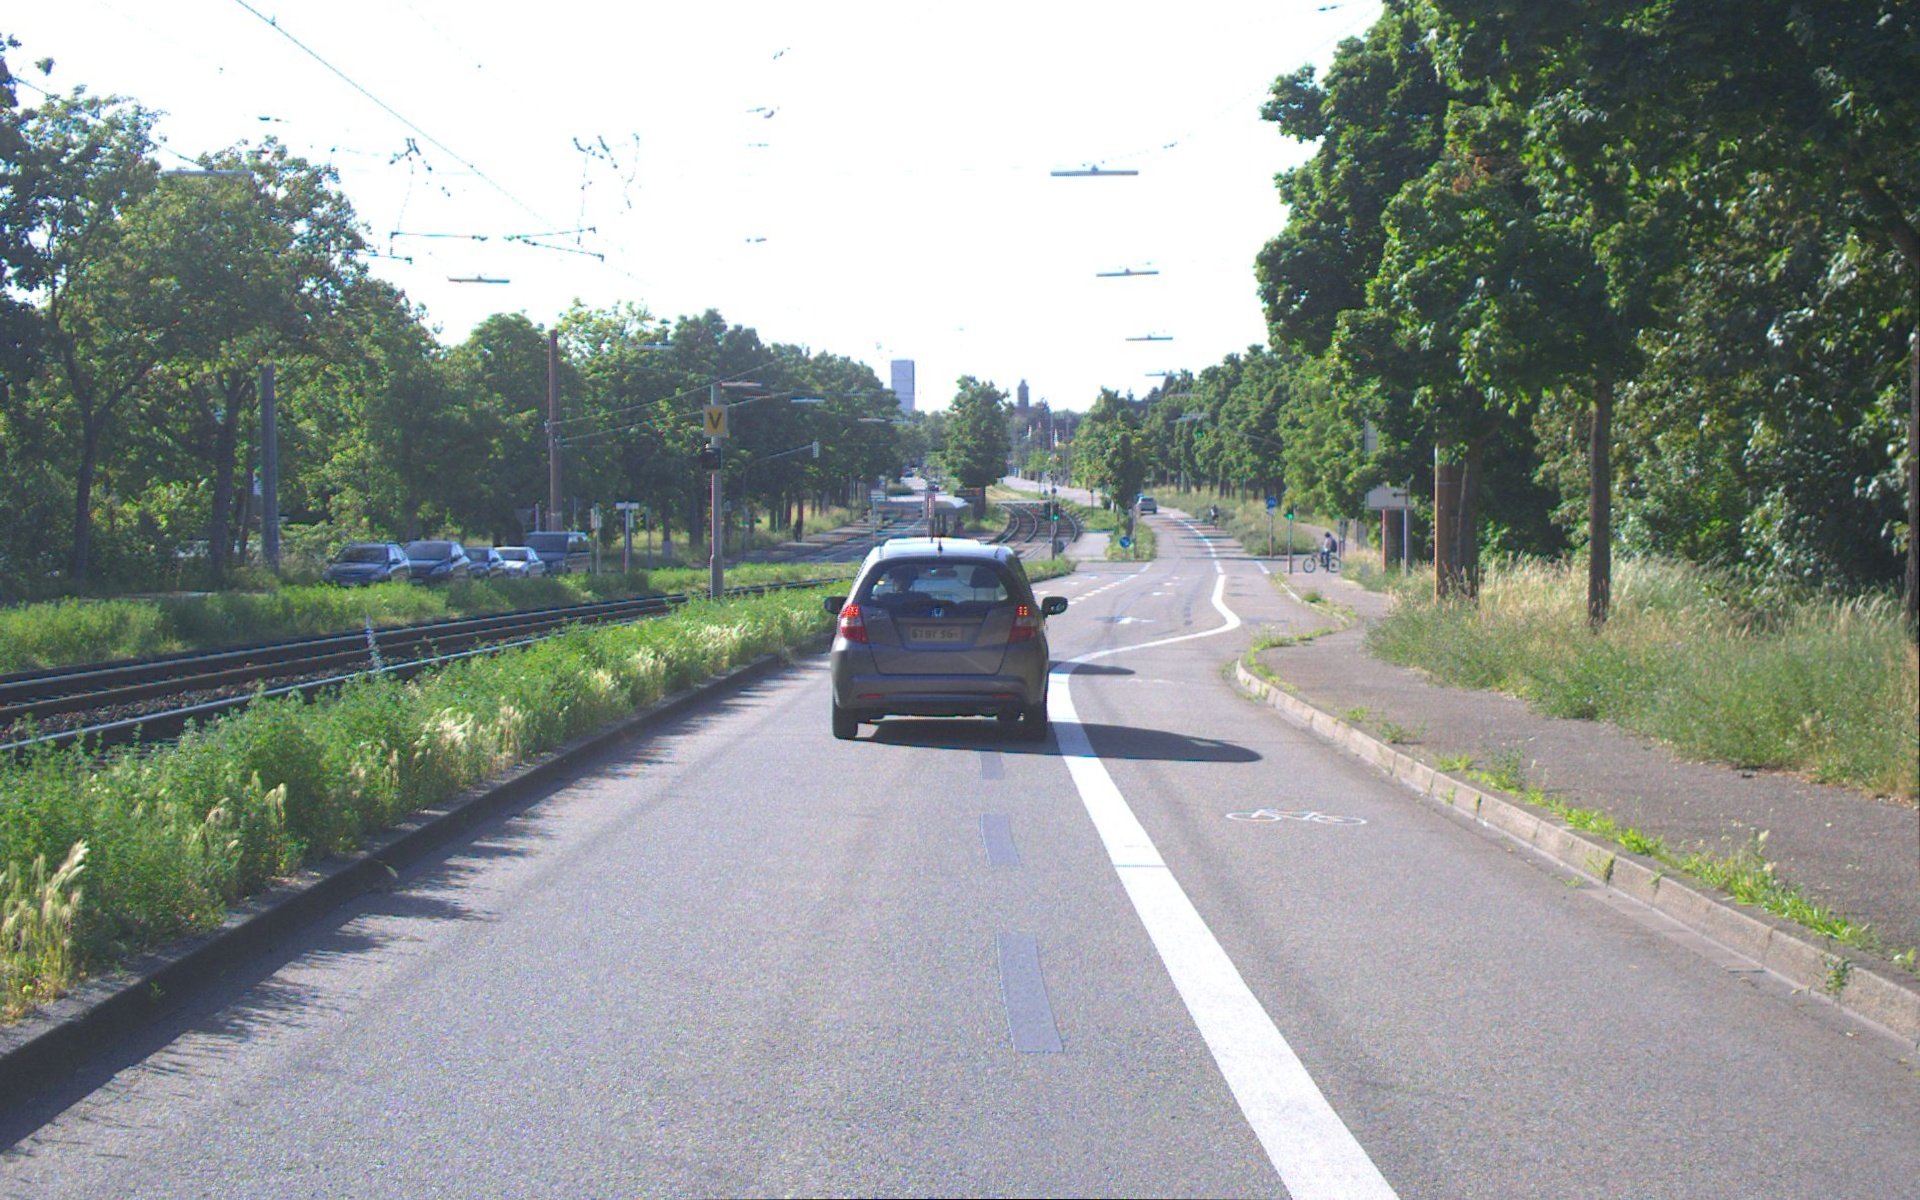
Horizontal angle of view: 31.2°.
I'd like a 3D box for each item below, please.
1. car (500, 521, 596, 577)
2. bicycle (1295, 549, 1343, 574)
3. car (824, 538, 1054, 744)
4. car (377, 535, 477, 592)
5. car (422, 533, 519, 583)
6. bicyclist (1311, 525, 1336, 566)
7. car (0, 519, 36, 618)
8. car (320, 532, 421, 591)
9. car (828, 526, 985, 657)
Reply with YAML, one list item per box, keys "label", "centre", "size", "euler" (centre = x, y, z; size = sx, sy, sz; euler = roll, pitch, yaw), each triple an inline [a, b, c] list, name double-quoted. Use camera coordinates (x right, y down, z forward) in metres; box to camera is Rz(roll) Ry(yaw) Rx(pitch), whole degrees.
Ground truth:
- label: "car"
  centre: [-14.033, -1.762, 117.372]
  size: [2.197, 1.885, 4.790]
  euler: [0, 1, 7]
- label: "bicycle"
  centre: [15.595, -1.677, 149.255]
  size: [1.921, 0.994, 0.764]
  euler: [-2, 0, 16]
- label: "car"
  centre: [-0.142, 0.271, 27.831]
  size: [1.707, 1.503, 4.000]
  euler: [1, 1, 1]
- label: "car"
  centre: [-15.335, -1.082, 99.107]
  size: [1.994, 1.569, 4.435]
  euler: [0, 1, 3]
- label: "car"
  centre: [-14.932, -1.302, 105.136]
  size: [1.994, 1.432, 4.414]
  euler: [0, 1, 5]
- label: "bicyclist"
  centre: [15.780, -2.368, 149.190]
  size: [0.911, 1.739, 0.764]
  euler: [-1, 1, 16]
- label: "car"
  centre: [-17.438, -0.543, 58.507]
  size: [2.004, 1.696, 4.466]
  euler: [0, 1, 3]
- label: "car"
  centre: [-15.821, -1.040, 92.427]
  size: [1.735, 1.489, 4.328]
  euler: [2, 1, 3]
- label: "car"
  centre: [-0.646, -0.154, 44.497]
  size: [1.851, 1.601, 4.255]
  euler: [0, 1, 1]
